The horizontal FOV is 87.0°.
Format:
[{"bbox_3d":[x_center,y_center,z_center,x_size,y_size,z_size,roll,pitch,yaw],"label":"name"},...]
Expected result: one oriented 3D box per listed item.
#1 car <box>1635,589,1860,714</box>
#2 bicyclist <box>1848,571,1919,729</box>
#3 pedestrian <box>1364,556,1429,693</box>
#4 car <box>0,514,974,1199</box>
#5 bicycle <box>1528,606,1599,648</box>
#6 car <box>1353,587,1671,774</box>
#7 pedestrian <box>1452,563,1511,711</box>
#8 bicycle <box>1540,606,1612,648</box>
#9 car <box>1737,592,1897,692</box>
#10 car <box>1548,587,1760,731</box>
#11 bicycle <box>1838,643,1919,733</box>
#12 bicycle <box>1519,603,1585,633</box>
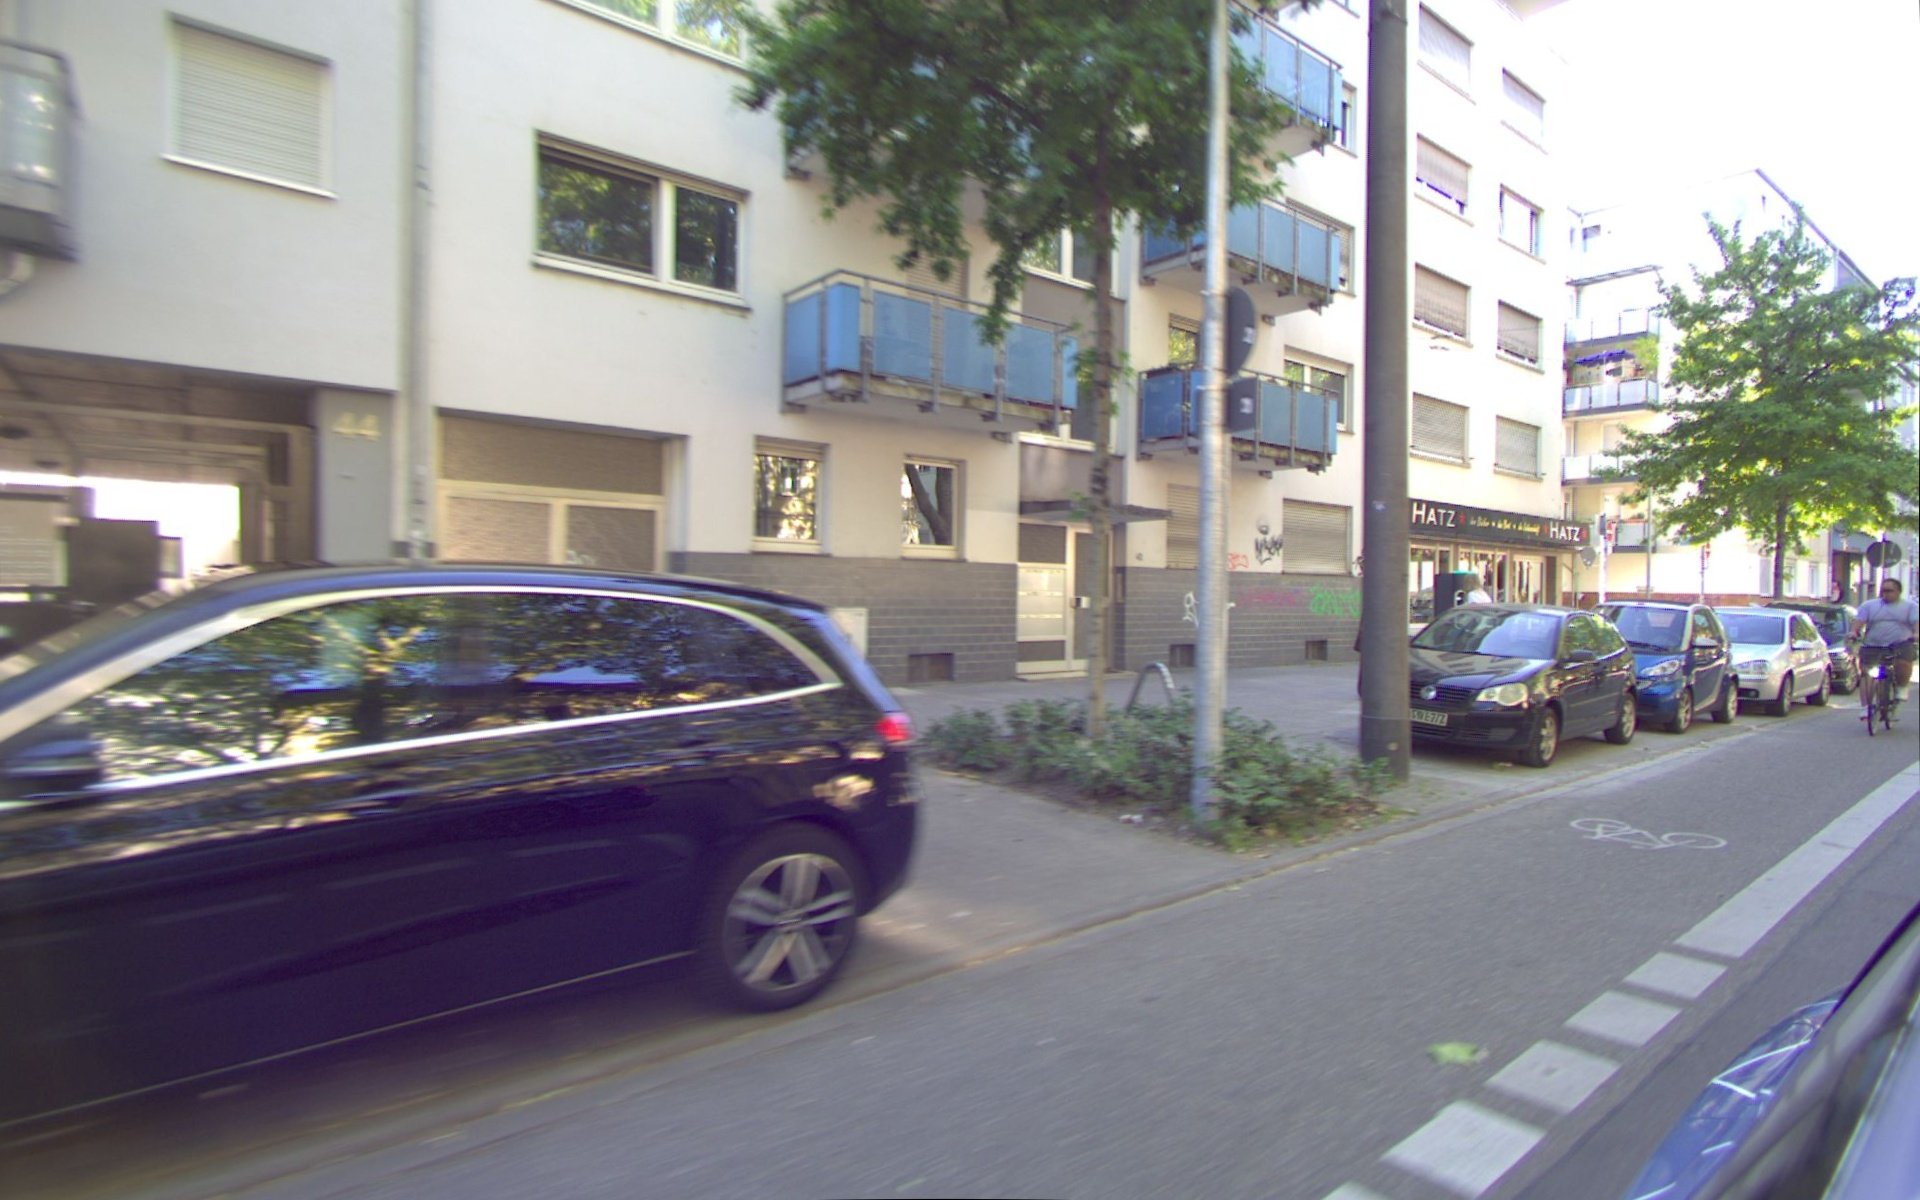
[{"bbox_3d":[12.000,0.689,15.341,4.053,1.556,1.791,1,3,-39],"label":"car"},{"bbox_3d":[11.502,0.581,12.384,1.079,1.854,0.769,0,0,-38],"label":"bicyclist"},{"bbox_3d":[6.160,0.332,14.276,0.650,1.875,0.540,1,0,-27],"label":"pedestrian"},{"bbox_3d":[-2.170,0.572,3.363,4.251,1.606,1.764,0,4,-39],"label":"car"},{"bbox_3d":[18.208,0.795,30.589,0.471,1.222,2.078,0,0,-17],"label":"bicycle"},{"bbox_3d":[5.783,0.678,10.417,3.822,1.500,1.625,0,3,-42],"label":"car"},{"bbox_3d":[6.846,0.468,13.277,0.652,1.875,0.476,1,0,-42],"label":"pedestrian"},{"bbox_3d":[18.684,0.797,30.764,0.471,1.222,2.078,0,0,-17],"label":"bicycle"},{"bbox_3d":[16.225,0.692,19.089,4.187,1.590,1.722,0,3,-43],"label":"car"},{"bbox_3d":[8.865,0.669,12.880,2.829,1.556,1.448,1,2,-39],"label":"car"},{"bbox_3d":[11.484,1.039,12.379,1.904,0.949,0.790,0,0,-39],"label":"bicycle"},{"bbox_3d":[22.577,0.674,38.629,0.595,1.004,2.112,0,2,-35],"label":"bicycle"}]
